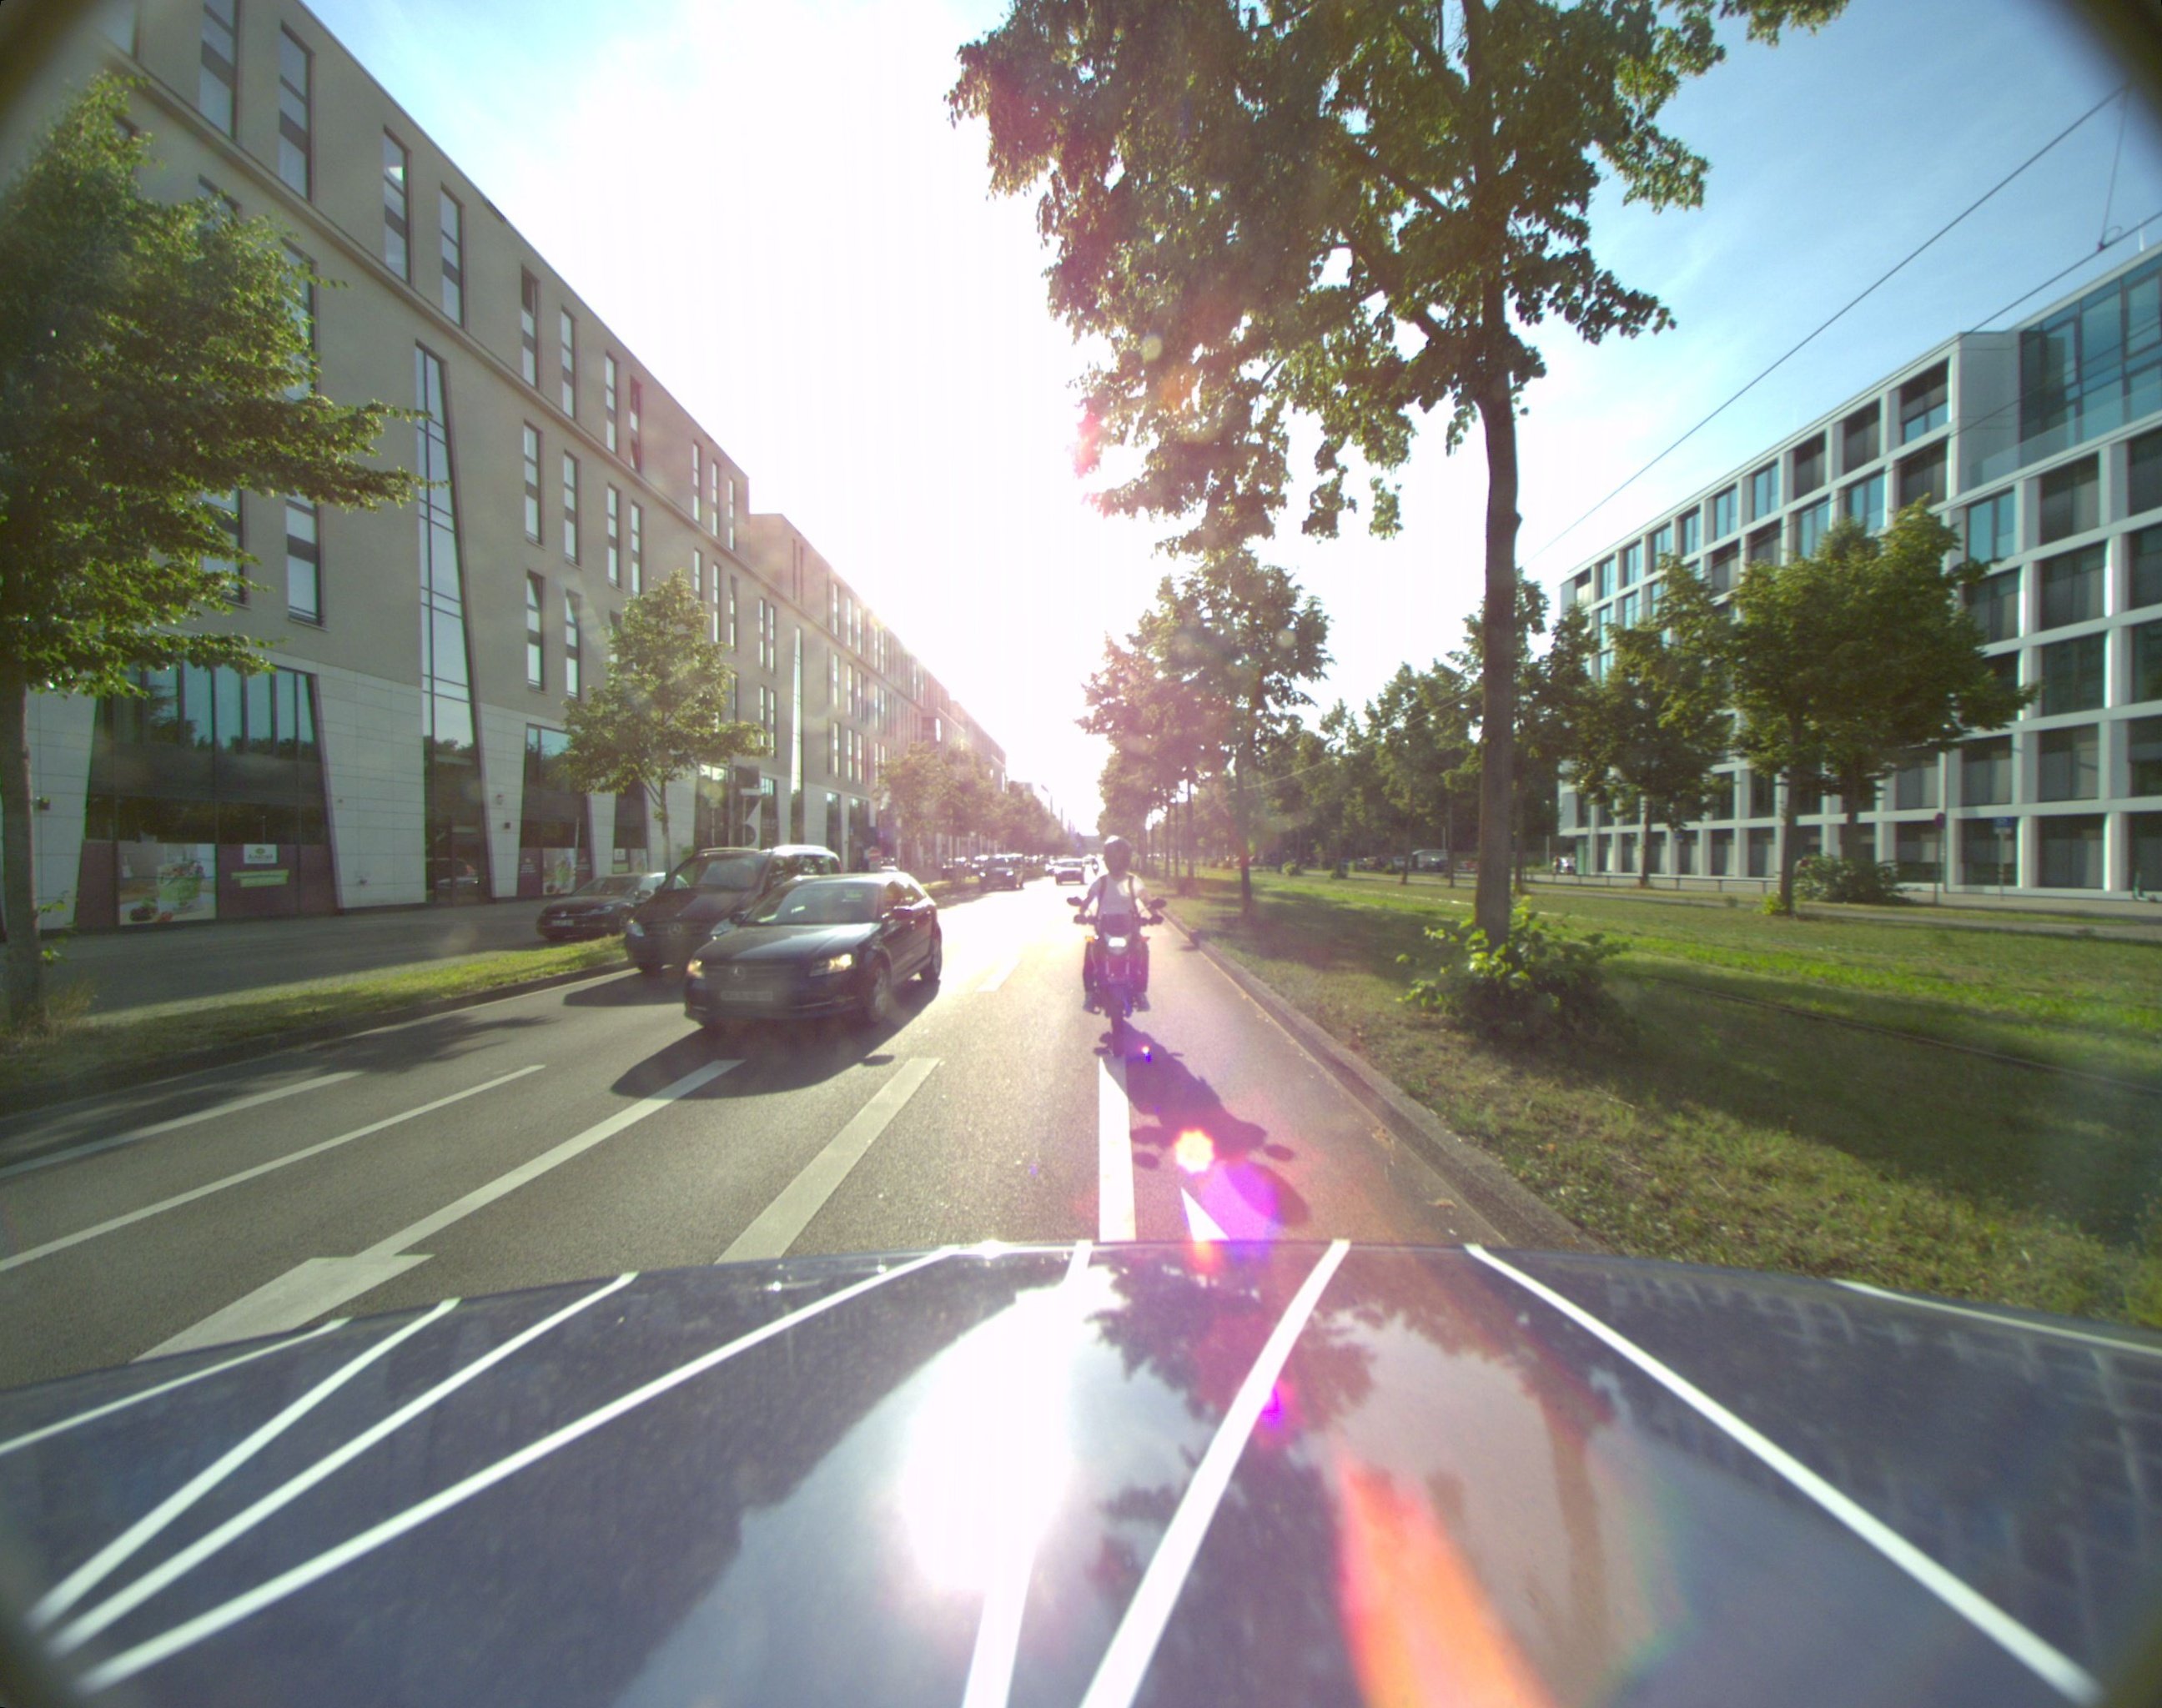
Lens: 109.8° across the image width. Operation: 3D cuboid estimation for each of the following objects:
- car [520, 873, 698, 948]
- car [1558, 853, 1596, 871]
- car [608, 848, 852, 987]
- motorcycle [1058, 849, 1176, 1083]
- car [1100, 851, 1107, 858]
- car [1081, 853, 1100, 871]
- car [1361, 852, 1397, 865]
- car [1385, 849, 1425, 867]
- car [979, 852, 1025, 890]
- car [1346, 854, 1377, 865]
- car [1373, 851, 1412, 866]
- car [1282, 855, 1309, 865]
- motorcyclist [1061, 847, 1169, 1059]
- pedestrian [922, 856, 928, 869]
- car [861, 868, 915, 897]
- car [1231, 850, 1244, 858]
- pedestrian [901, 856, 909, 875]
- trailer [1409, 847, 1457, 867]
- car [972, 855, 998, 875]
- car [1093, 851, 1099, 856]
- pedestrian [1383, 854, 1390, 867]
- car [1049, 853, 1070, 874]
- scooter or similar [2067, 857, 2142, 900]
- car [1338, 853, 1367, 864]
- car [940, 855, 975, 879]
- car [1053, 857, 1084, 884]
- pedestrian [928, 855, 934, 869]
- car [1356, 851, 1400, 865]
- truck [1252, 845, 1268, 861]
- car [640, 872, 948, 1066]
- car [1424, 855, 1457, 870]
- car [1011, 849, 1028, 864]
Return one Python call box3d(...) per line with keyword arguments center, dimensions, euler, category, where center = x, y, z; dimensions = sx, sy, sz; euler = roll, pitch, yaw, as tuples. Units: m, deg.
box3d(center=(-10.889, 1.226, 17.928), dimensions=(1.611, 1.362, 4.156), euler=(-2, 1, -1), category="car")
box3d(center=(48.895, 0.769, 75.006), dimensions=(1.851, 1.586, 4.003), euler=(-2, 1, 13), category="car")
box3d(center=(-5.715, 0.883, 13.191), dimensions=(1.803, 1.881, 4.821), euler=(-2, 1, 2), category="car")
box3d(center=(0.279, 0.806, 6.835), dimensions=(0.798, 1.659, 2.634), euler=(-2, 1, 1), category="motorcycle")
box3d(center=(6.680, 0.173, 228.675), dimensions=(1.998, 1.736, 3.999), euler=(-2, 1, 1), category="car")
box3d(center=(0.873, 0.707, 70.327), dimensions=(1.644, 1.553, 3.733), euler=(-2, 1, 1), category="car")
box3d(center=(39.478, 0.593, 100.700), dimensions=(3.996, 1.551, 1.856), euler=(-2, 1, 4), category="car")
box3d(center=(38.498, 0.473, 90.340), dimensions=(4.001, 1.936, 1.758), euler=(-2, 1, 2), category="car")
box3d(center=(-4.267, 0.903, 41.929), dimensions=(1.864, 1.856, 4.778), euler=(-2, 1, 1), category="car")
box3d(center=(39.053, 0.771, 105.903), dimensions=(3.655, 1.420, 1.810), euler=(-2, 1, 4), category="car")
box3d(center=(38.300, 0.593, 93.377), dimensions=(4.001, 1.633, 1.758), euler=(-2, 1, 2), category="car")
box3d(center=(33.178, 0.913, 117.832), dimensions=(1.689, 1.427, 4.026), euler=(-3, 1, -28), category="car")
box3d(center=(0.281, 0.808, 6.617), dimensions=(0.814, 1.700, 0.843), euler=(-2, 1, 1), category="motorcyclist")
box3d(center=(-18.086, 1.001, 88.192), dimensions=(0.515, 1.513, 0.597), euler=(-2, 1, 1), category="pedestrian")
box3d(center=(-9.981, 1.432, 39.510), dimensions=(1.712, 1.235, 3.905), euler=(-2, 1, 1), category="car")
box3d(center=(31.454, 0.029, 152.523), dimensions=(1.834, 1.423, 4.475), euler=(-2, 1, 3), category="car")
box3d(center=(-17.192, 1.105, 74.215), dimensions=(0.538, 1.753, 0.646), euler=(-2, 1, 2), category="pedestrian")
box3d(center=(39.059, 0.325, 84.391), dimensions=(4.373, 2.042, 1.758), euler=(-2, 1, 5), category="trailer")
box3d(center=(-9.111, 0.976, 72.139), dimensions=(1.832, 1.702, 4.295), euler=(-2, 1, 0), category="car")
box3d(center=(4.864, -0.201, 247.050), dimensions=(1.998, 1.736, 3.999), euler=(-2, 1, 1), category="car")
box3d(center=(36.473, 0.746, 90.636), dimensions=(0.523, 1.472, 0.568), euler=(-2, 1, 1), category="pedestrian")
box3d(center=(-1.968, 0.896, 71.631), dimensions=(1.777, 1.805, 3.999), euler=(-2, 1, 1), category="car")
box3d(center=(36.885, 0.876, 27.381), dimensions=(1.933, 1.468, 0.415), euler=(-2, 1, 6), category="scooter or similar")
box3d(center=(40.350, 0.688, 113.047), dimensions=(3.865, 1.477, 1.744), euler=(-2, 1, 10), category="car")
box3d(center=(-9.625, 0.977, 59.701), dimensions=(1.902, 1.698, 4.678), euler=(-2, 0, 0), category="car")
box3d(center=(-0.732, 0.997, 47.225), dimensions=(1.739, 1.499, 4.000), euler=(-2, 1, 1), category="car")
box3d(center=(-17.413, 0.937, 88.151), dimensions=(0.540, 1.565, 0.514), euler=(-3, 1, -13), category="pedestrian")
box3d(center=(40.227, 0.540, 102.978), dimensions=(5.071, 1.725, 1.886), euler=(-2, 1, 4), category="car")
box3d(center=(43.349, -0.320, 184.127), dimensions=(2.894, 3.496, 7.947), euler=(-2, 1, 6), category="truck")
box3d(center=(-2.772, 1.018, 8.420), dimensions=(1.756, 1.427, 4.035), euler=(-2, 1, 1), category="car")
box3d(center=(38.135, 0.902, 80.661), dimensions=(1.683, 1.385, 3.760), euler=(-2, 1, -1), category="car")
box3d(center=(-8.389, 0.295, 104.011), dimensions=(1.842, 1.865, 5.030), euler=(-2, 1, -1), category="car")
